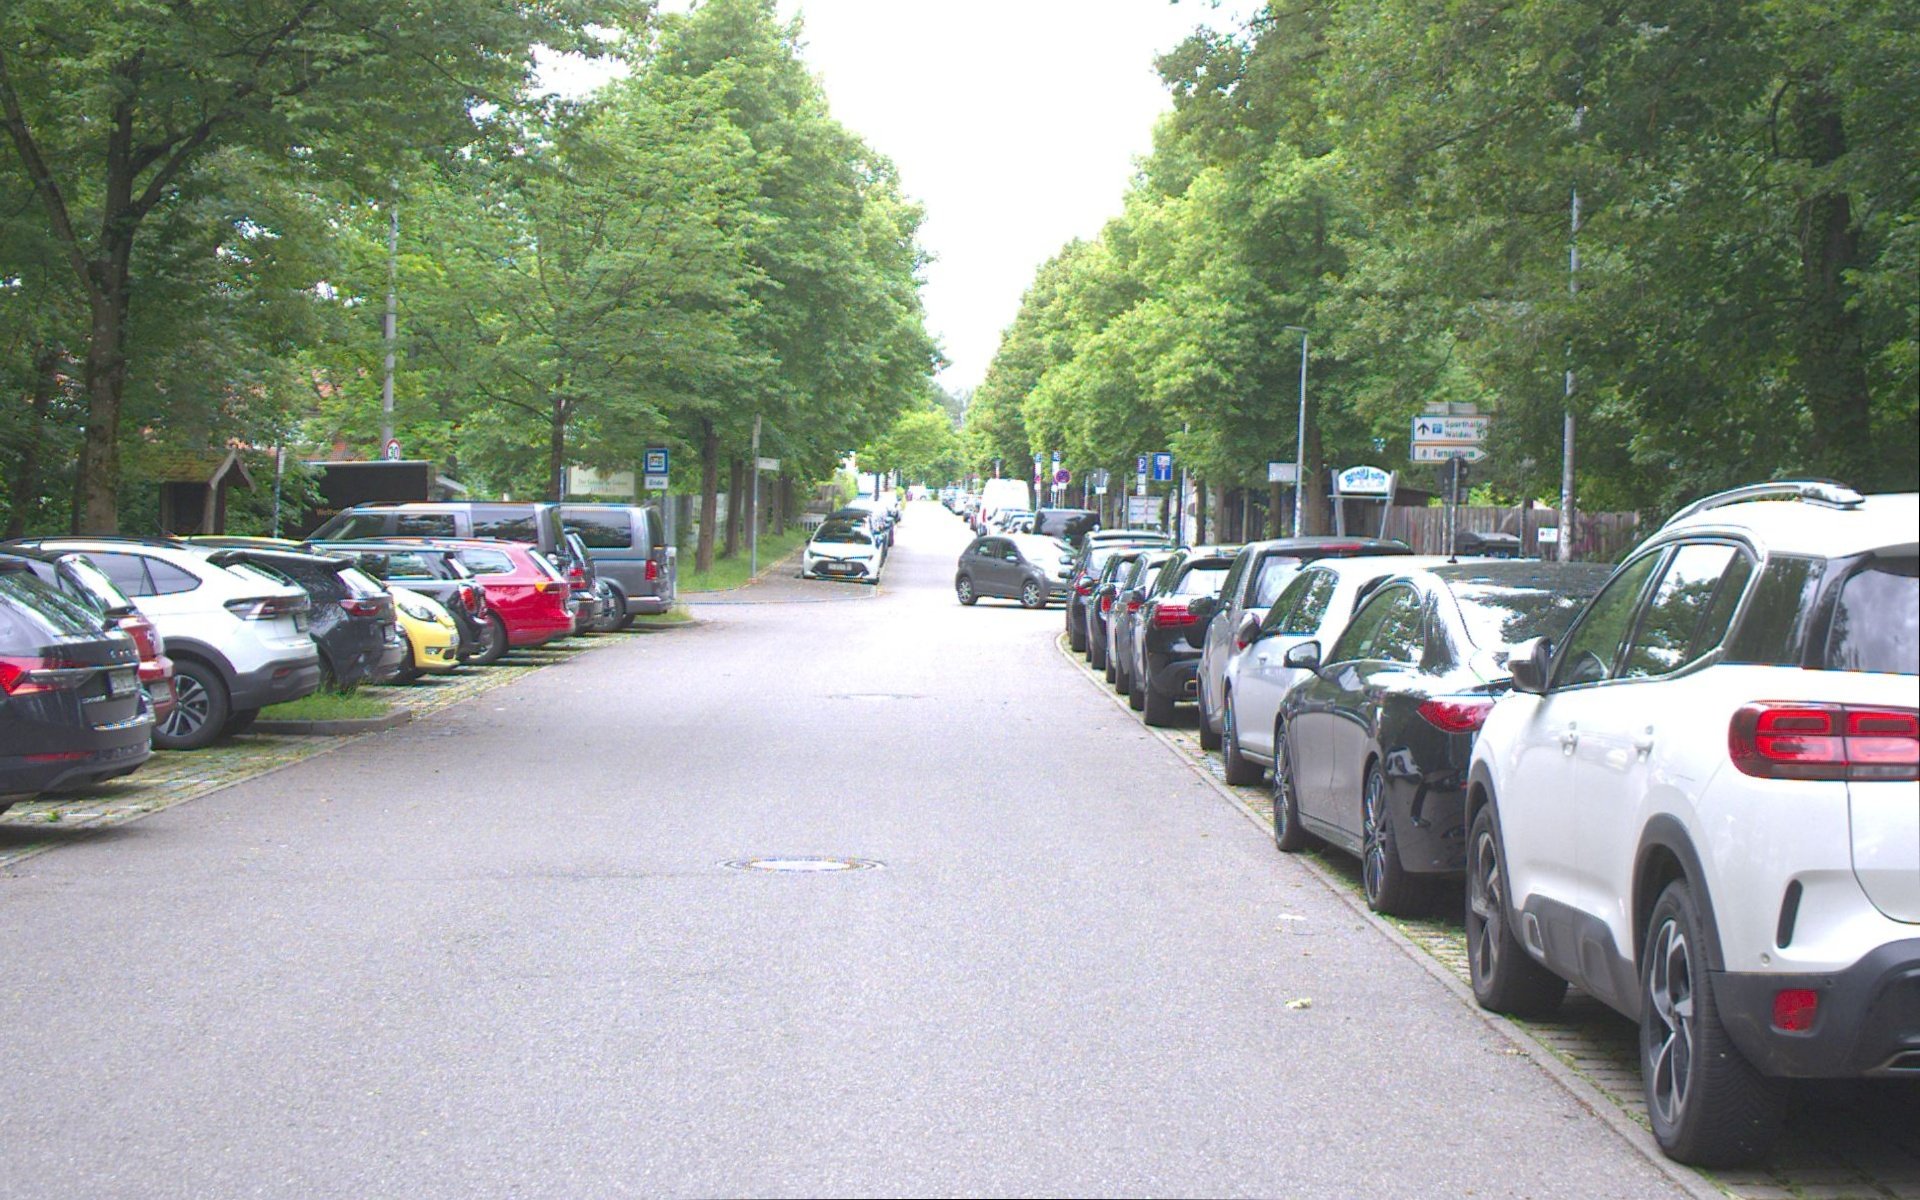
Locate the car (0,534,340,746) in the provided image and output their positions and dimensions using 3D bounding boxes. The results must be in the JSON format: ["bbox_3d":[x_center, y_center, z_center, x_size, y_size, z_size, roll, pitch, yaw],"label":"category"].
[{"bbox_3d":[-6.750,0.255,25.487,3.987,1.462,1.715,1,1,-1],"label":"car"}]

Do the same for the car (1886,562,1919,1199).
[{"bbox_3d":[2.677,0.724,4.317,1.736,1.474,4.770,1,1,0],"label":"car"}]

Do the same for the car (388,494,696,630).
[{"bbox_3d":[-6.369,-0.578,52.703,4.502,1.971,1.891,1,0,-1],"label":"car"}]

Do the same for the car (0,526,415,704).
[{"bbox_3d":[-6.964,0.107,30.417,3.987,1.433,1.715,2,1,0],"label":"car"}]

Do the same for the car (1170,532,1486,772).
[{"bbox_3d":[2.557,0.304,24.741,1.736,1.562,4.008,1,1,-1],"label":"car"}]

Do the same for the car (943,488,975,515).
[{"bbox_3d":[-0.052,-6.748,235.847,1.898,1.700,4.063,1,0,3],"label":"car"}]

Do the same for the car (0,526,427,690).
[{"bbox_3d":[-7.278,0.053,33.145,3.987,1.433,1.734,2,1,0],"label":"car"}]

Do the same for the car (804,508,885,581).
[{"bbox_3d":[-2.774,-1.346,81.760,1.765,1.590,4.217,3,1,-3],"label":"car"}]

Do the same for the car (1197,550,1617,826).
[{"bbox_3d":[2.517,0.439,20.313,1.736,1.420,4.155,1,1,-3],"label":"car"}]

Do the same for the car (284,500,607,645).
[{"bbox_3d":[-6.734,-0.376,45.323,3.986,1.759,1.824,1,1,-2],"label":"car"}]

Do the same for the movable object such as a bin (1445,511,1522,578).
[{"bbox_3d":[11.376,-1.200,74.760,1.282,1.437,1.078,1,0,-44],"label":"movable object such as a bin"}]

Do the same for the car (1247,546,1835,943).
[{"bbox_3d":[2.413,0.517,15.429,1.736,1.469,4.606,1,1,-1],"label":"car"}]

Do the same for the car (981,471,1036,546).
[{"bbox_3d":[1.990,-3.779,142.080,2.184,3.005,4.897,1,1,1],"label":"car"}]

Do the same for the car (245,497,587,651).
[{"bbox_3d":[-6.741,-0.338,42.888,3.987,1.856,1.813,0,1,0],"label":"car"}]

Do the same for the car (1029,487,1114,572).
[{"bbox_3d":[2.703,-1.740,84.495,1.988,2.007,4.108,1,2,1],"label":"car"}]

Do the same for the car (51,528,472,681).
[{"bbox_3d":[-7.161,0.033,35.467,3.987,1.433,1.618,2,1,0],"label":"car"}]

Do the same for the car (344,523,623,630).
[{"bbox_3d":[-6.977,-0.359,50.570,3.815,1.507,1.809,0,2,2],"label":"car"}]

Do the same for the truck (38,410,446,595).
[{"bbox_3d":[-13.370,-1.781,64.379,7.245,3.225,3.442,1,0,-11],"label":"truck"}]

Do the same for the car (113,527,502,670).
[{"bbox_3d":[-7.133,-0.036,37.854,3.986,1.433,1.672,1,1,-3],"label":"car"}]

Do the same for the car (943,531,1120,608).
[{"bbox_3d":[1.400,-0.628,69.038,1.872,1.481,4.001,1,0,-27],"label":"car"}]

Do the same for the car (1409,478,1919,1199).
[{"bbox_3d":[2.519,0.516,10.041,1.736,1.638,5.072,1,1,0],"label":"car"}]

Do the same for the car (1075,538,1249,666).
[{"bbox_3d":[2.390,-0.015,41.639,1.736,1.427,4.502,1,1,-1],"label":"car"}]

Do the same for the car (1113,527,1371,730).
[{"bbox_3d":[2.335,0.182,29.422,1.736,1.583,4.382,1,1,-1],"label":"car"}]

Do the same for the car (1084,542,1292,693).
[{"bbox_3d":[2.291,0.131,35.549,1.736,1.427,4.502,1,1,-1],"label":"car"}]

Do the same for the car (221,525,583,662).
[{"bbox_3d":[-6.523,-0.089,40.489,3.986,1.471,1.780,1,1,-2],"label":"car"}]

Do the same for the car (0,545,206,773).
[{"bbox_3d":[-7.274,0.343,23.132,3.987,1.430,1.702,1,1,2],"label":"car"}]

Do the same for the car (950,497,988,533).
[{"bbox_3d":[0.519,-4.974,202.419,1.994,2.007,4.000,1,0,3],"label":"car"}]

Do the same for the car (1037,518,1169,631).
[{"bbox_3d":[2.156,-0.418,52.767,1.736,1.628,4.376,1,1,-1],"label":"car"}]

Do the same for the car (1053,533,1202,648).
[{"bbox_3d":[2.251,-0.166,47.201,1.736,1.489,4.234,1,1,-1],"label":"car"}]

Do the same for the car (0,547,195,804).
[{"bbox_3d":[-6.773,0.390,20.539,3.987,1.430,1.677,1,1,2],"label":"car"}]

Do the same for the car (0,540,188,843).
[{"bbox_3d":[-6.121,0.395,17.464,3.987,1.430,1.677,1,1,2],"label":"car"}]
